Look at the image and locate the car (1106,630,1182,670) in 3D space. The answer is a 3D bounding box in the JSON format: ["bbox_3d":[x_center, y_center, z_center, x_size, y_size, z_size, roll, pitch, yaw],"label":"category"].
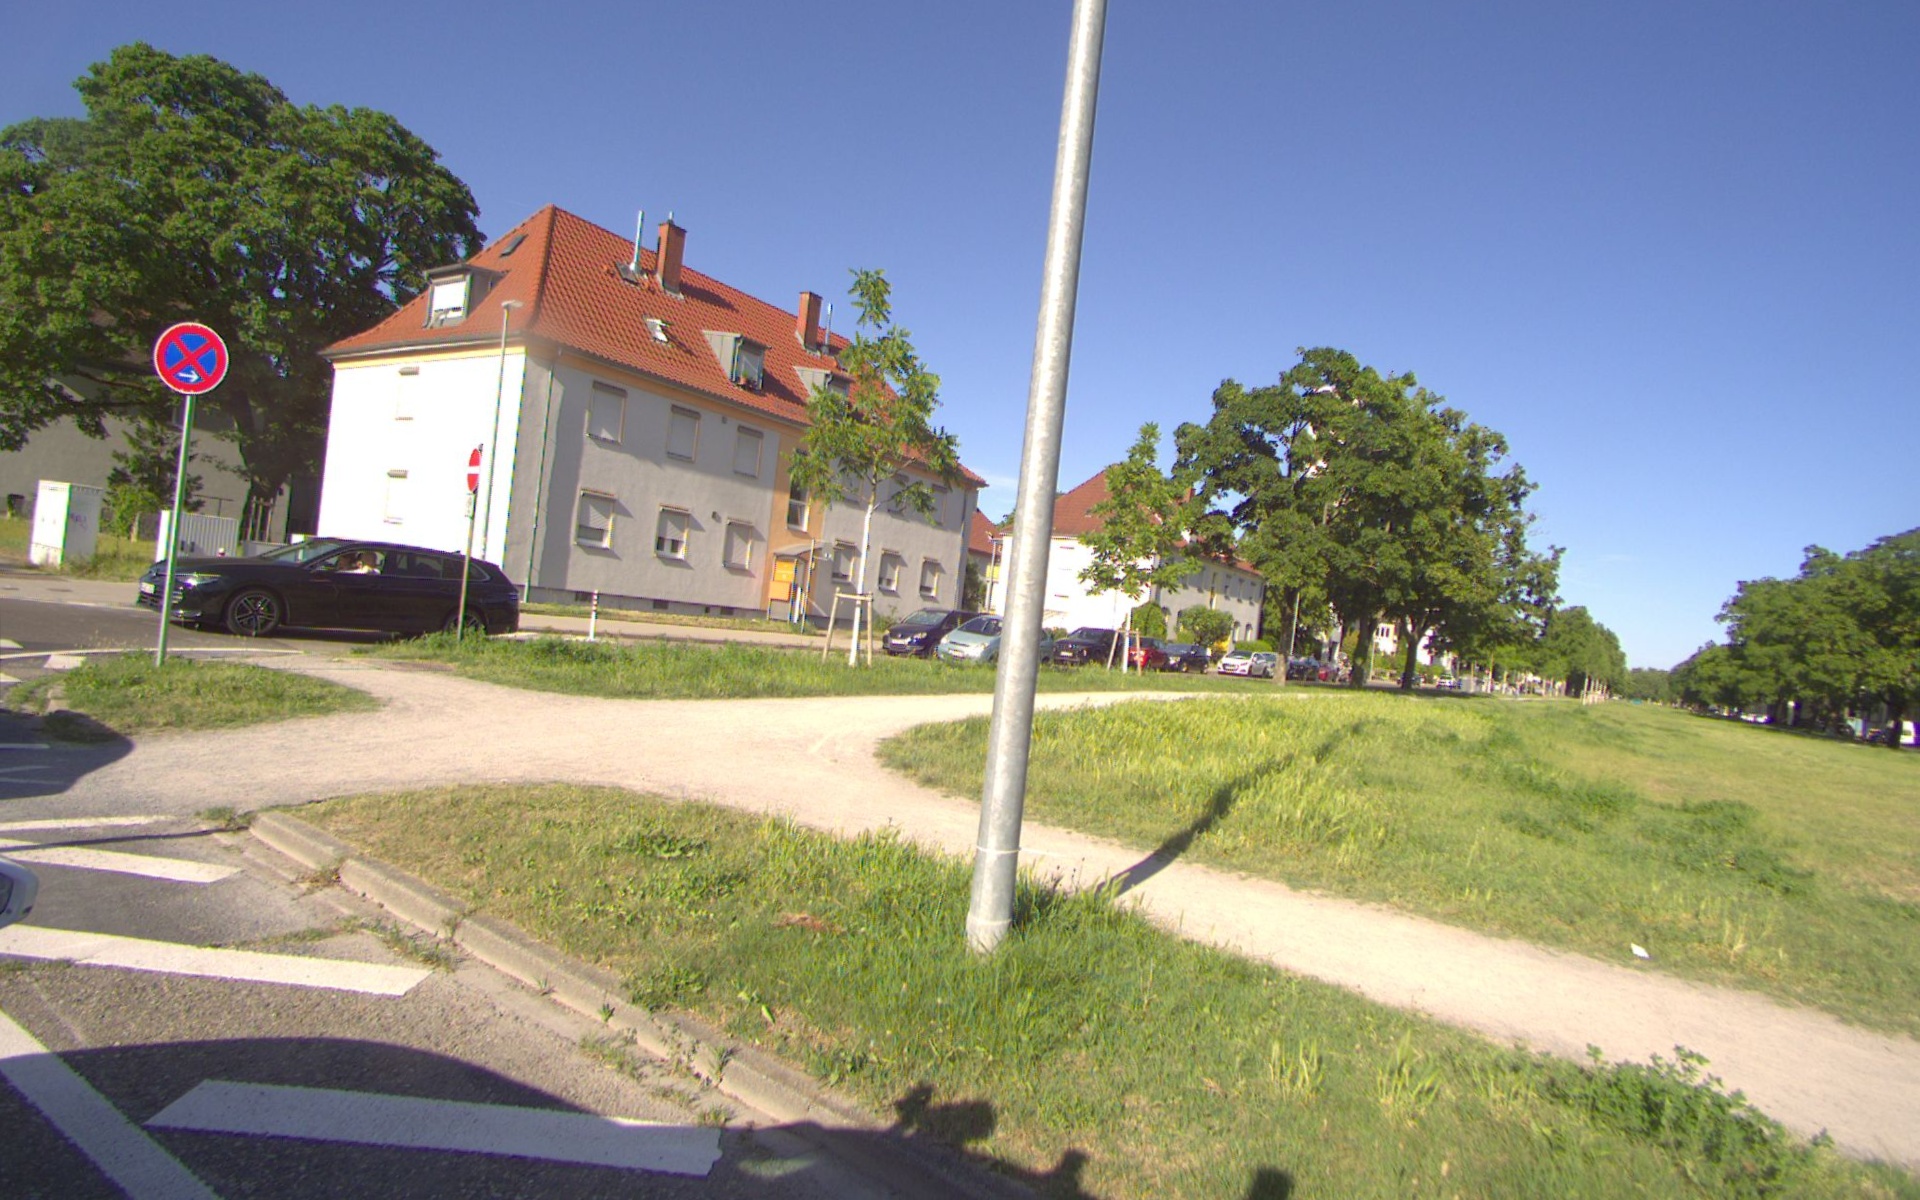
[{"bbox_3d":[8.398,2.304,45.700,1.694,1.459,4.129,7,0,35],"label":"car"}]

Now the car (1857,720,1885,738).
[{"bbox_3d":[110.268,15.586,121.769,1.837,1.868,3.982,7,0,36],"label":"car"}]

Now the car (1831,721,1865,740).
[{"bbox_3d":[93.386,13.702,105.822,2.049,1.484,4.713,7,0,36],"label":"car"}]

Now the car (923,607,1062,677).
[{"bbox_3d":[1.022,1.249,28.923,1.859,1.628,4.235,7,0,35],"label":"car"}]

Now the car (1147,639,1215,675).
[{"bbox_3d":[10.893,2.818,49.490,1.694,1.459,4.129,7,0,35],"label":"car"}]

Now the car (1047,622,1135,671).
[{"bbox_3d":[5.363,1.913,40.879,1.694,1.602,4.129,7,0,35],"label":"car"}]

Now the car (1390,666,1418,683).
[{"bbox_3d":[43.777,7.368,99.118,1.694,1.358,3.798,7,0,35],"label":"car"}]

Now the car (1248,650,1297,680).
[{"bbox_3d":[19.175,4.001,61.635,1.694,1.517,3.798,7,0,35],"label":"car"}]

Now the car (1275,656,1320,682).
[{"bbox_3d":[22.157,4.542,65.910,1.694,1.358,3.798,7,0,35],"label":"car"}]

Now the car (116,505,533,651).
[{"bbox_3d":[-9.108,-0.224,14.850,1.969,1.543,4.740,7,0,36],"label":"car"}]

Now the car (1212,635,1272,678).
[{"bbox_3d":[16.071,3.235,57.199,1.842,2.038,4.244,7,0,35],"label":"car"}]

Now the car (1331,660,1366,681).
[{"bbox_3d":[31.045,5.611,80.325,1.694,1.358,3.798,7,0,35],"label":"car"}]

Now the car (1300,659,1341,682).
[{"bbox_3d":[25.593,5.004,71.293,1.694,1.358,3.798,7,0,35],"label":"car"}]

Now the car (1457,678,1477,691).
[{"bbox_3d":[65.814,11.002,130.650,1.694,1.358,3.798,7,0,35],"label":"car"}]

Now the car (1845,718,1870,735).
[{"bbox_3d":[119.243,16.769,133.719,1.837,1.868,3.982,7,0,36],"label":"car"}]

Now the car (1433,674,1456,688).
[{"bbox_3d":[56.787,9.543,117.850,1.694,1.358,3.798,7,0,35],"label":"car"}]

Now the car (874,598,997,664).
[{"bbox_3d":[-0.711,1.021,31.976,1.694,1.684,4.053,7,0,35],"label":"car"}]

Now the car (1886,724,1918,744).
[{"bbox_3d":[103.529,14.696,110.580,1.837,1.868,3.982,7,0,36],"label":"car"}]

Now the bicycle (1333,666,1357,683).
[{"bbox_3d":[25.612,4.945,66.907,1.036,0.949,2.759,7,0,30],"label":"bicycle"}]

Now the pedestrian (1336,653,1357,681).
[{"bbox_3d":[25.714,4.454,66.986,1.036,1.730,0.692,7,1,30],"label":"pedestrian"}]
